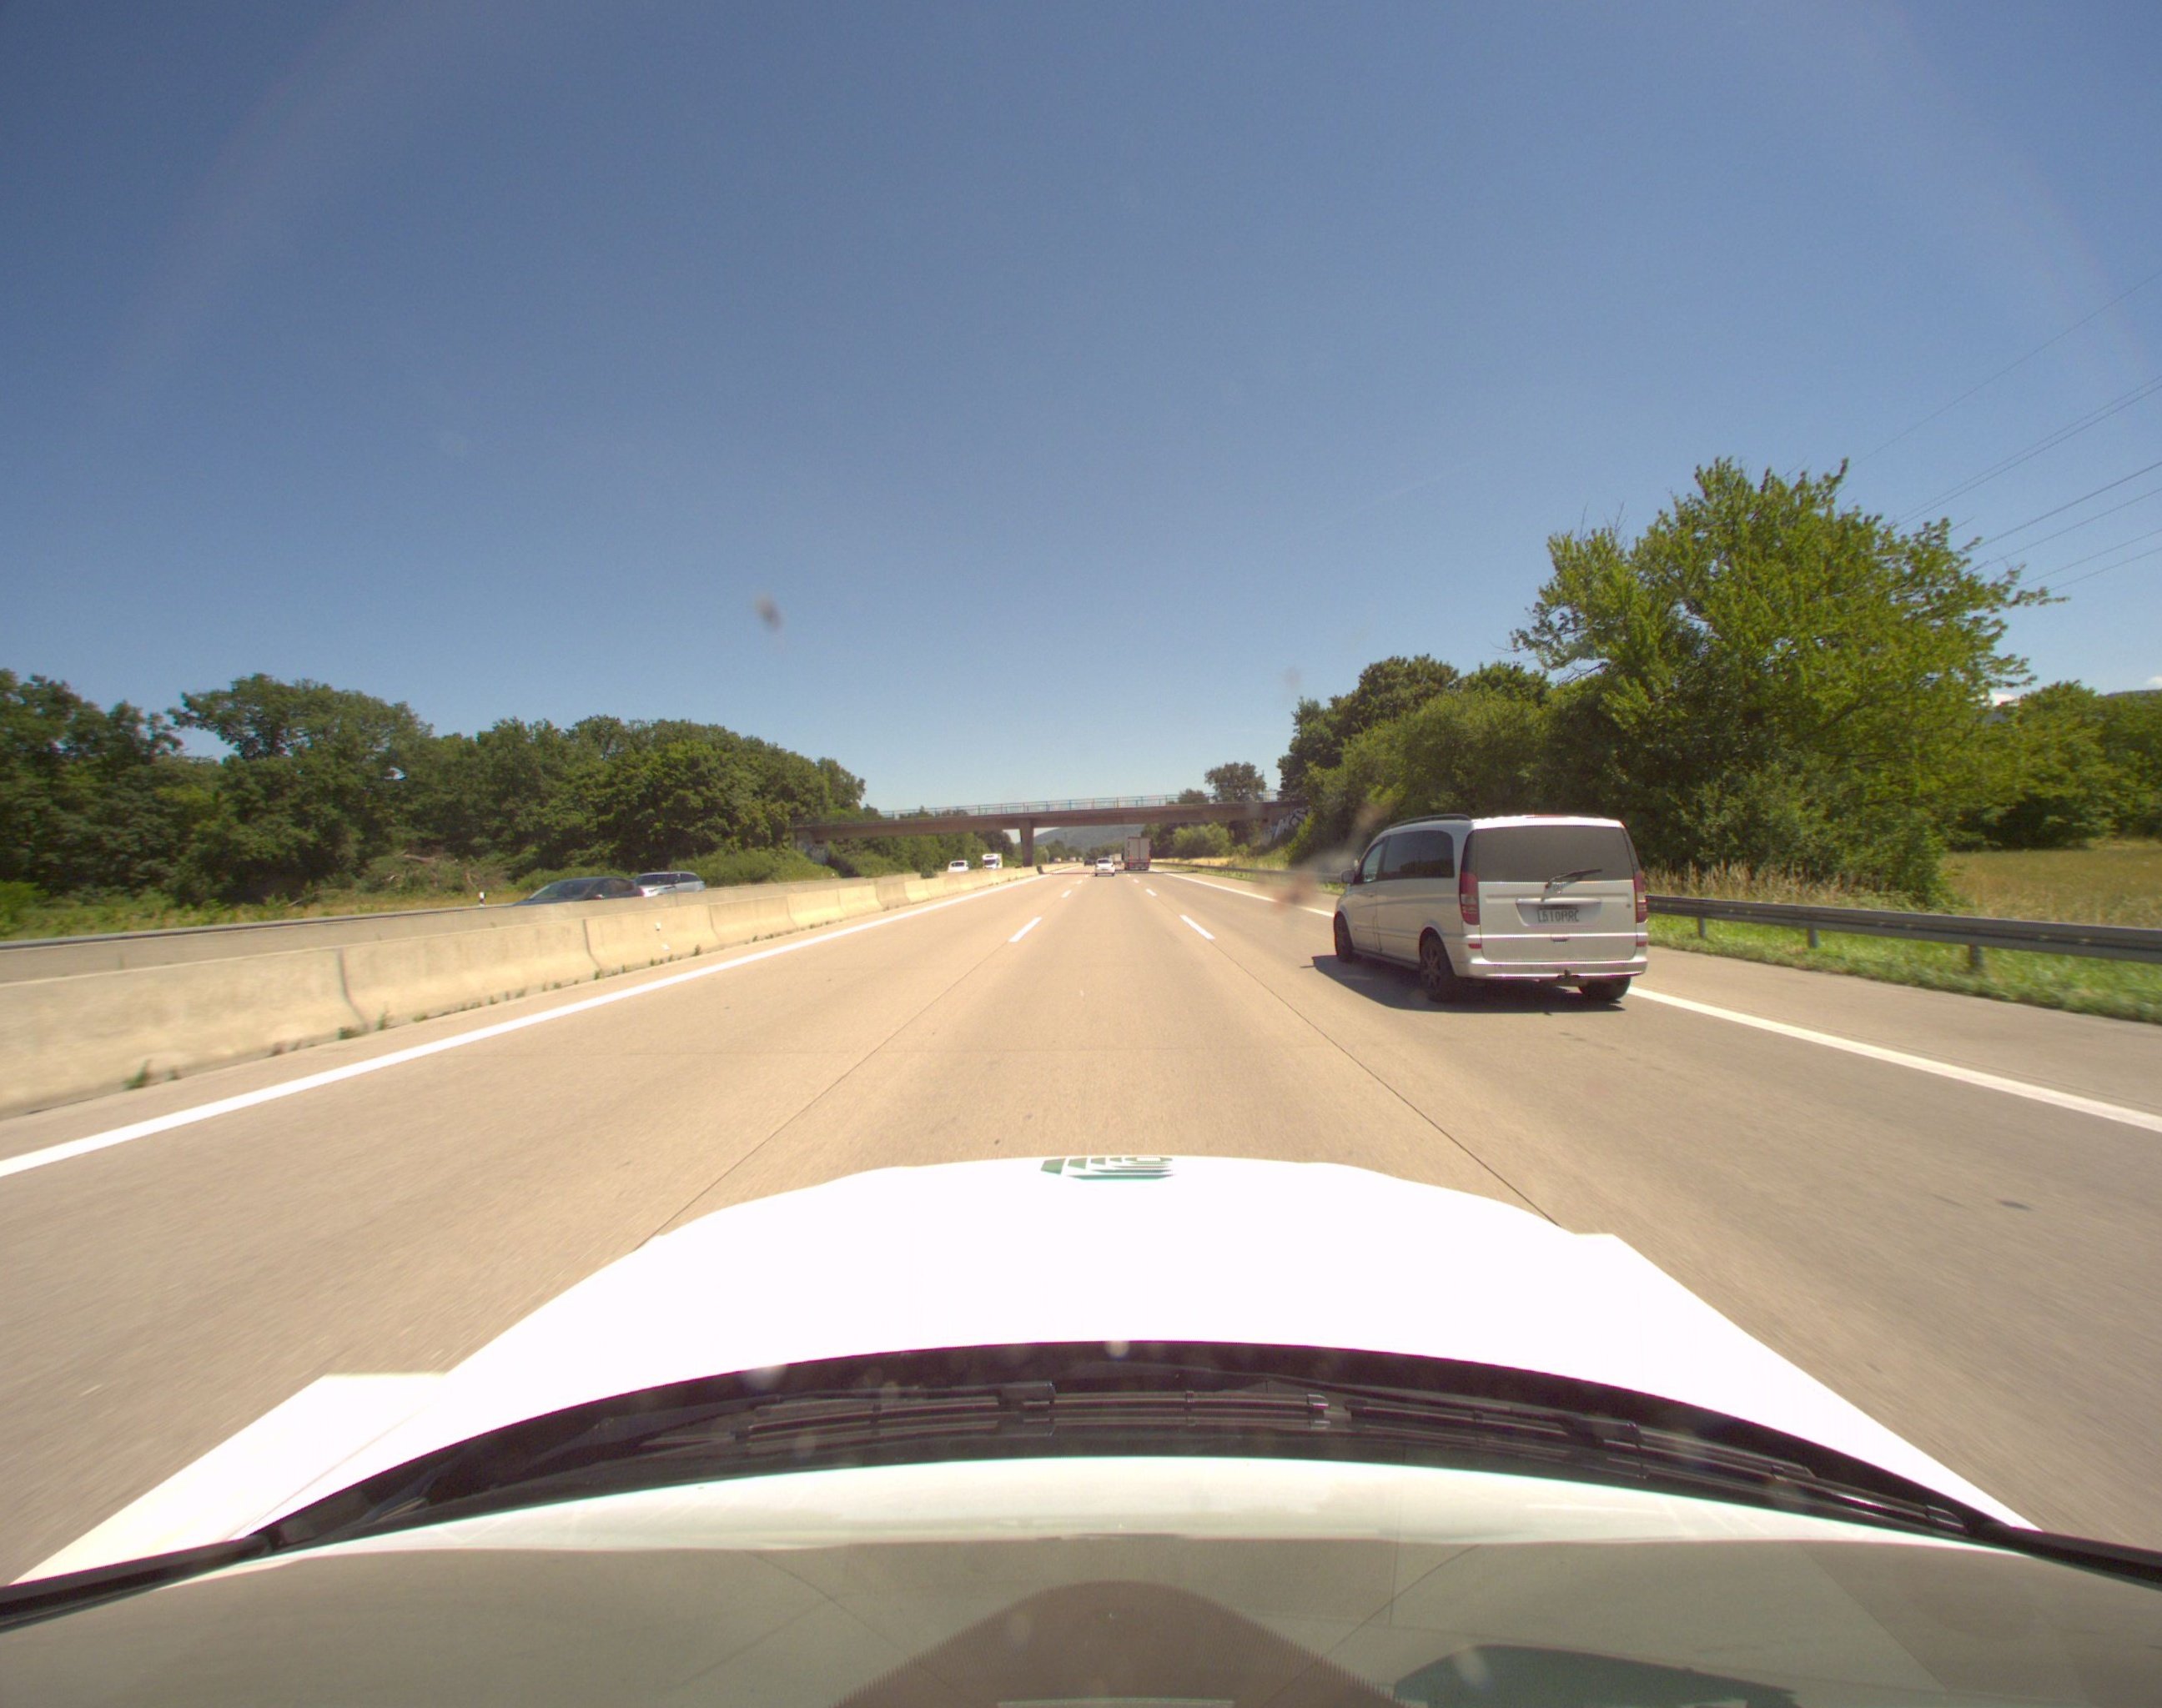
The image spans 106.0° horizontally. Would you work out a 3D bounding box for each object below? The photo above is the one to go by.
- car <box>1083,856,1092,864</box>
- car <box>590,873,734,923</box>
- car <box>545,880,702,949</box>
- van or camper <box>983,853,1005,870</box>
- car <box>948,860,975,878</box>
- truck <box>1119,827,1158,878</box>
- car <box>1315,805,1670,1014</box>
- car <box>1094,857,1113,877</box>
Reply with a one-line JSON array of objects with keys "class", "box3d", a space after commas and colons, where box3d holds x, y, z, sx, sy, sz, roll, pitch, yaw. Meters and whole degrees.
[{"class": "car", "box3d": [1.453, 1.393, 178.350, 2.016, 1.700, 3.998, 0, -1, -1]}, {"class": "car", "box3d": [-15.592, 1.583, 30.817, 2.058, 1.496, 6.137, -2, 0, 2]}, {"class": "car", "box3d": [-12.032, 1.522, 21.778, 1.750, 1.496, 4.082, -2, 0, 1]}, {"class": "van or camper", "box3d": [-12.896, 1.035, 121.648, 2.240, 2.443, 7.804, 0, 0, 1]}, {"class": "car", "box3d": [-12.448, 1.529, 85.128, 1.819, 1.718, 5.794, -2, 0, 2]}, {"class": "truck", "box3d": [7.067, -0.173, 102.979, 3.565, 5.787, 18.246, -1, 0, 0]}, {"class": "car", "box3d": [4.546, 0.516, 10.142, 1.872, 1.889, 5.282, -1, 0, 2]}, {"class": "car", "box3d": [1.964, 1.101, 70.477, 1.635, 1.662, 3.361, 0, 0, 2]}]
